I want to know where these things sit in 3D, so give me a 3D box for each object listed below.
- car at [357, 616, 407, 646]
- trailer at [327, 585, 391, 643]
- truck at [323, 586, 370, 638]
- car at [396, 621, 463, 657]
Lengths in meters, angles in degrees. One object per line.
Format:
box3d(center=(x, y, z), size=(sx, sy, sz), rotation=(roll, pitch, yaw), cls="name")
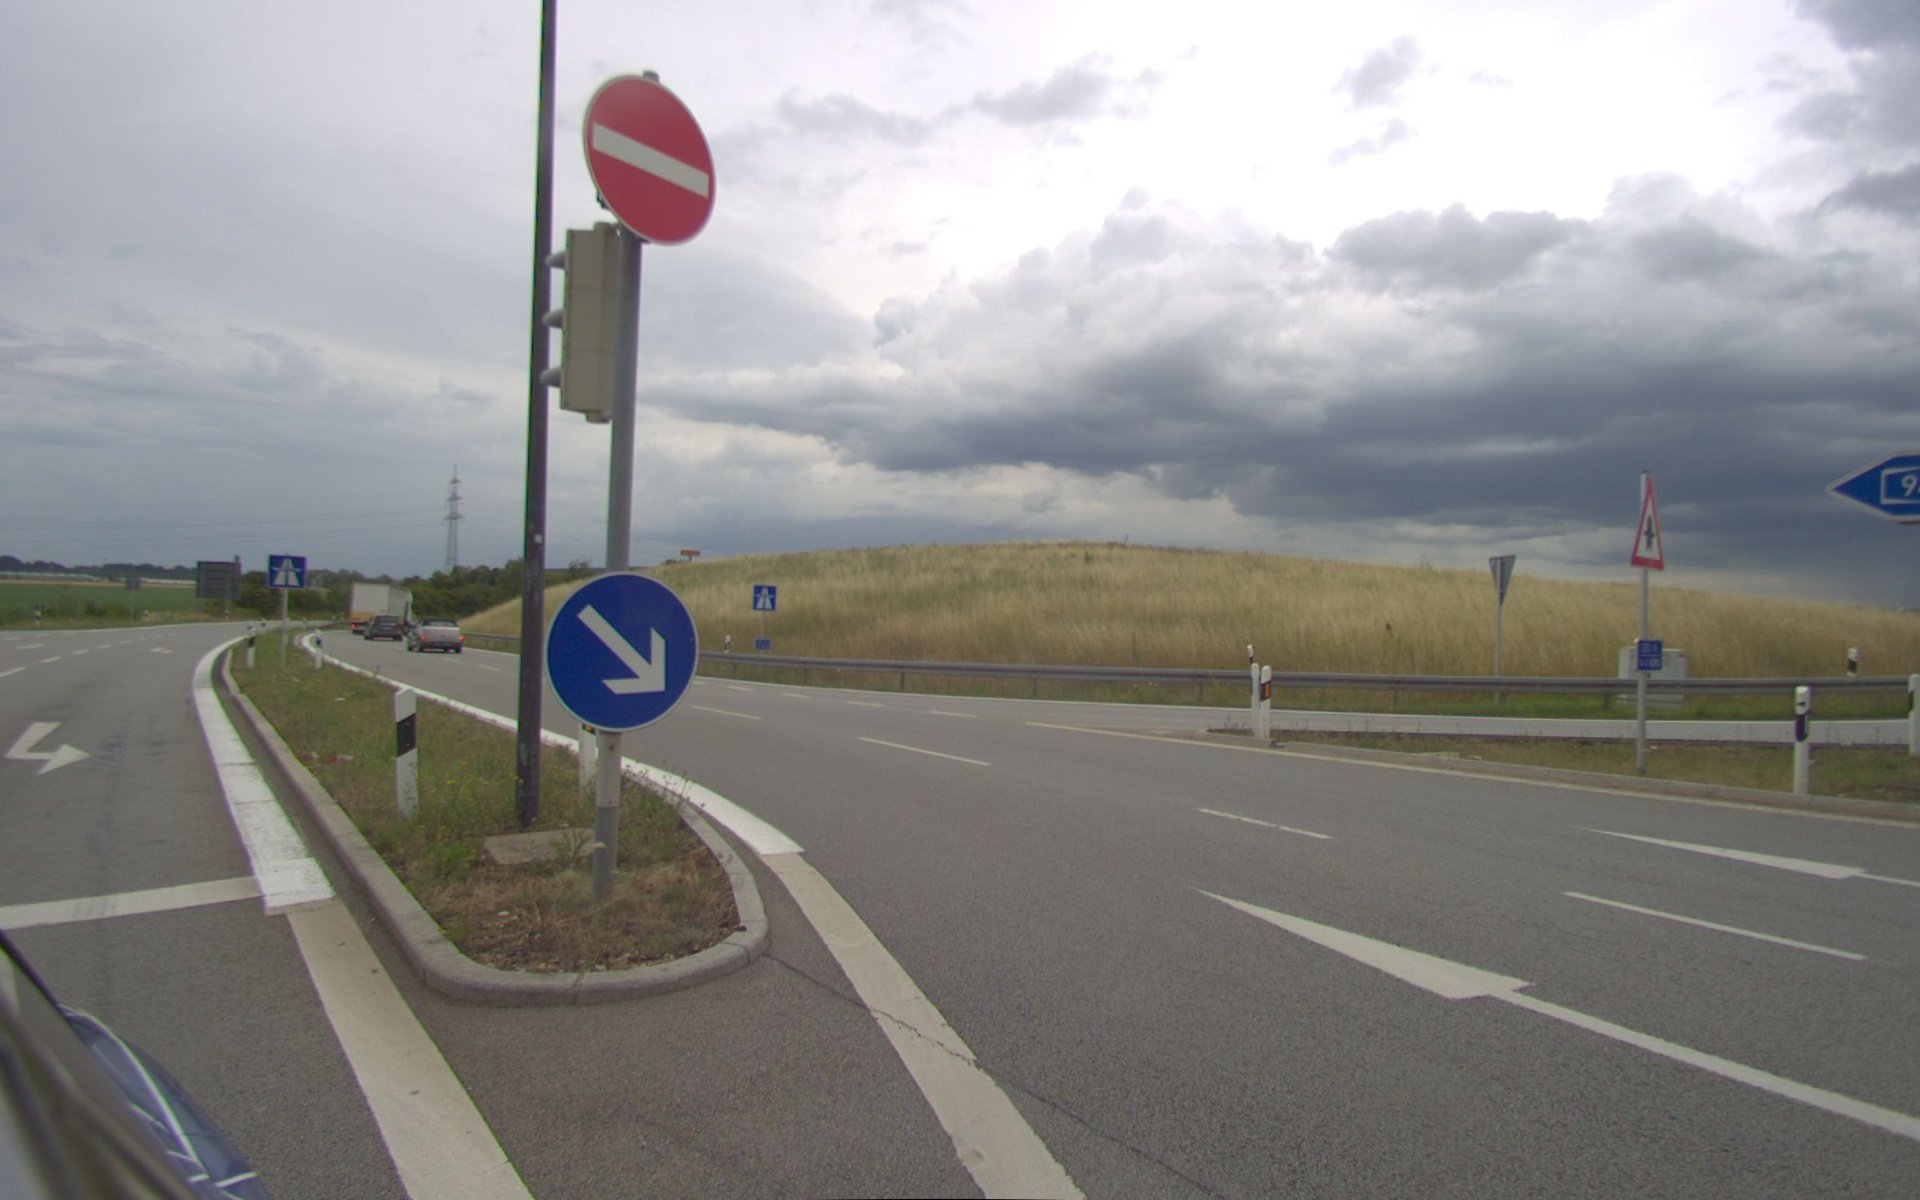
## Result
box3d(center=(-35.772, 1.924, 62.574), size=(1.968, 1.707, 4.464), rotation=(3, -1, -39), cls="car")
box3d(center=(-48.064, 1.012, 80.667), size=(2.657, 4.242, 13.871), rotation=(3, -1, -37), cls="trailer")
box3d(center=(-52.270, 1.014, 86.196), size=(2.615, 4.172, 6.417), rotation=(3, -1, -37), cls="truck")
box3d(center=(-23.232, 1.689, 44.270), size=(1.787, 1.532, 4.250), rotation=(2, -2, -39), cls="car")
